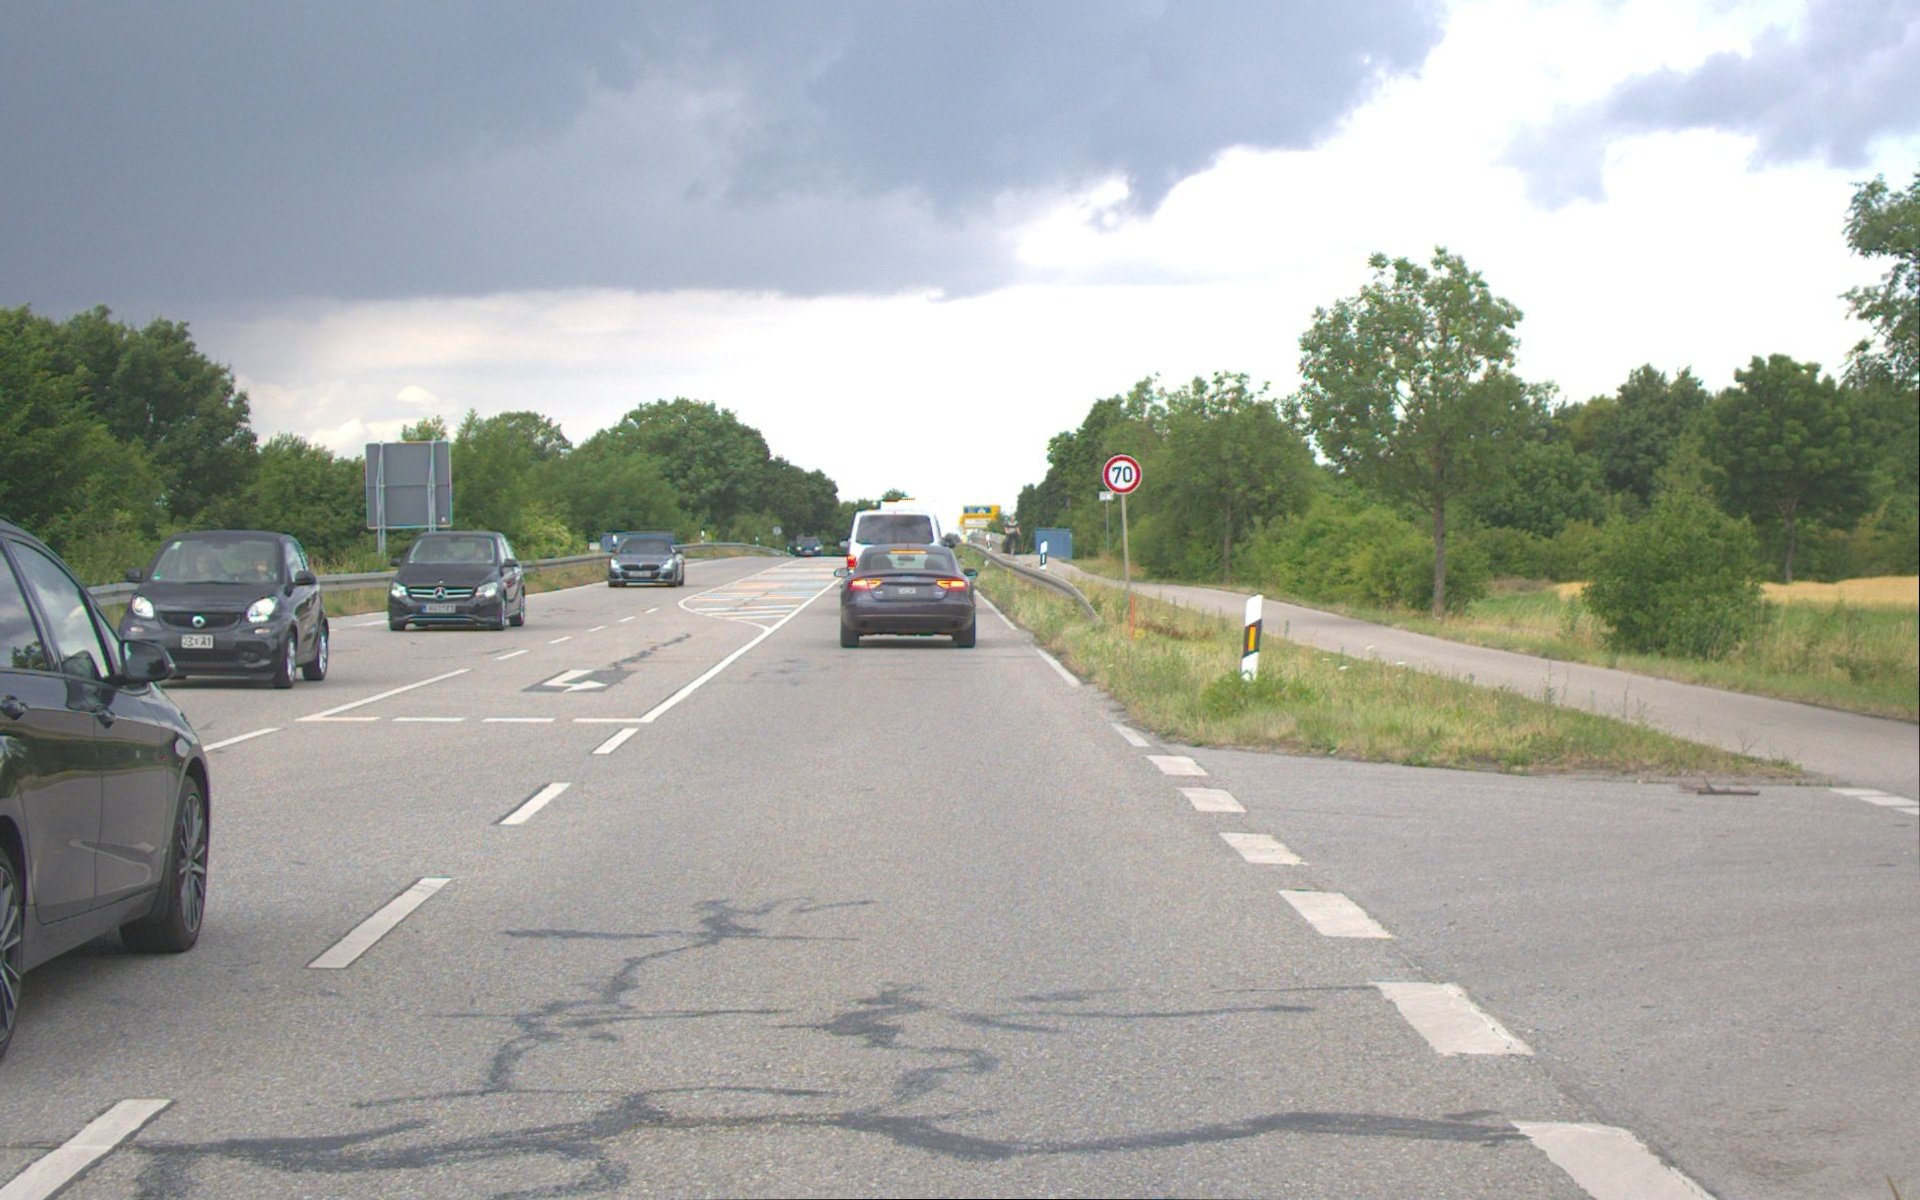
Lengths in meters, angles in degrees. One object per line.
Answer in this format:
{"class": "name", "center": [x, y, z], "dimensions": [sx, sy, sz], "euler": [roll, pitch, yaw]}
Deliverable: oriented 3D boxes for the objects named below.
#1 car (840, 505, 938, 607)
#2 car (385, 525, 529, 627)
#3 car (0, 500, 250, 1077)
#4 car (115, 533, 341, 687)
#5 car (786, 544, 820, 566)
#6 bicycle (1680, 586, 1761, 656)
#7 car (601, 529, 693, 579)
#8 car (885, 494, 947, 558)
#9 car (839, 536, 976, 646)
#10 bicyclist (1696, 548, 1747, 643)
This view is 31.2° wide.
{"class": "car", "center": [-1.344, -0.837, 65.523], "dimensions": [1.785, 1.883, 4.000], "euler": [1, 1, -1]}
{"class": "car", "center": [-7.890, -0.409, 54.264], "dimensions": [1.742, 1.525, 4.199], "euler": [0, 1, -1]}
{"class": "car", "center": [-3.546, 0.493, 10.995], "dimensions": [1.702, 1.605, 4.482], "euler": [1, 1, -1]}
{"class": "car", "center": [-7.316, 0.070, 34.608], "dimensions": [1.661, 1.478, 3.169], "euler": [0, 1, -1]}
{"class": "car", "center": [-10.286, -2.942, 225.594], "dimensions": [1.862, 1.372, 4.000], "euler": [2, 0, 2]}
{"class": "bicycle", "center": [12.638, 0.339, 57.184], "dimensions": [0.656, 1.134, 2.831], "euler": [1, 0, -1]}
{"class": "car", "center": [-8.516, -1.260, 93.767], "dimensions": [2.164, 1.280, 4.238], "euler": [1, 1, -1]}
{"class": "car", "center": [-1.772, -3.018, 139.814], "dimensions": [2.447, 2.495, 5.042], "euler": [1, 1, 0]}
{"class": "car", "center": [-0.713, -0.143, 47.101], "dimensions": [1.785, 1.419, 4.000], "euler": [1, 1, -1]}
{"class": "bicyclist", "center": [12.648, -0.076, 57.117], "dimensions": [0.656, 1.575, 0.744], "euler": [1, 0, -1]}
